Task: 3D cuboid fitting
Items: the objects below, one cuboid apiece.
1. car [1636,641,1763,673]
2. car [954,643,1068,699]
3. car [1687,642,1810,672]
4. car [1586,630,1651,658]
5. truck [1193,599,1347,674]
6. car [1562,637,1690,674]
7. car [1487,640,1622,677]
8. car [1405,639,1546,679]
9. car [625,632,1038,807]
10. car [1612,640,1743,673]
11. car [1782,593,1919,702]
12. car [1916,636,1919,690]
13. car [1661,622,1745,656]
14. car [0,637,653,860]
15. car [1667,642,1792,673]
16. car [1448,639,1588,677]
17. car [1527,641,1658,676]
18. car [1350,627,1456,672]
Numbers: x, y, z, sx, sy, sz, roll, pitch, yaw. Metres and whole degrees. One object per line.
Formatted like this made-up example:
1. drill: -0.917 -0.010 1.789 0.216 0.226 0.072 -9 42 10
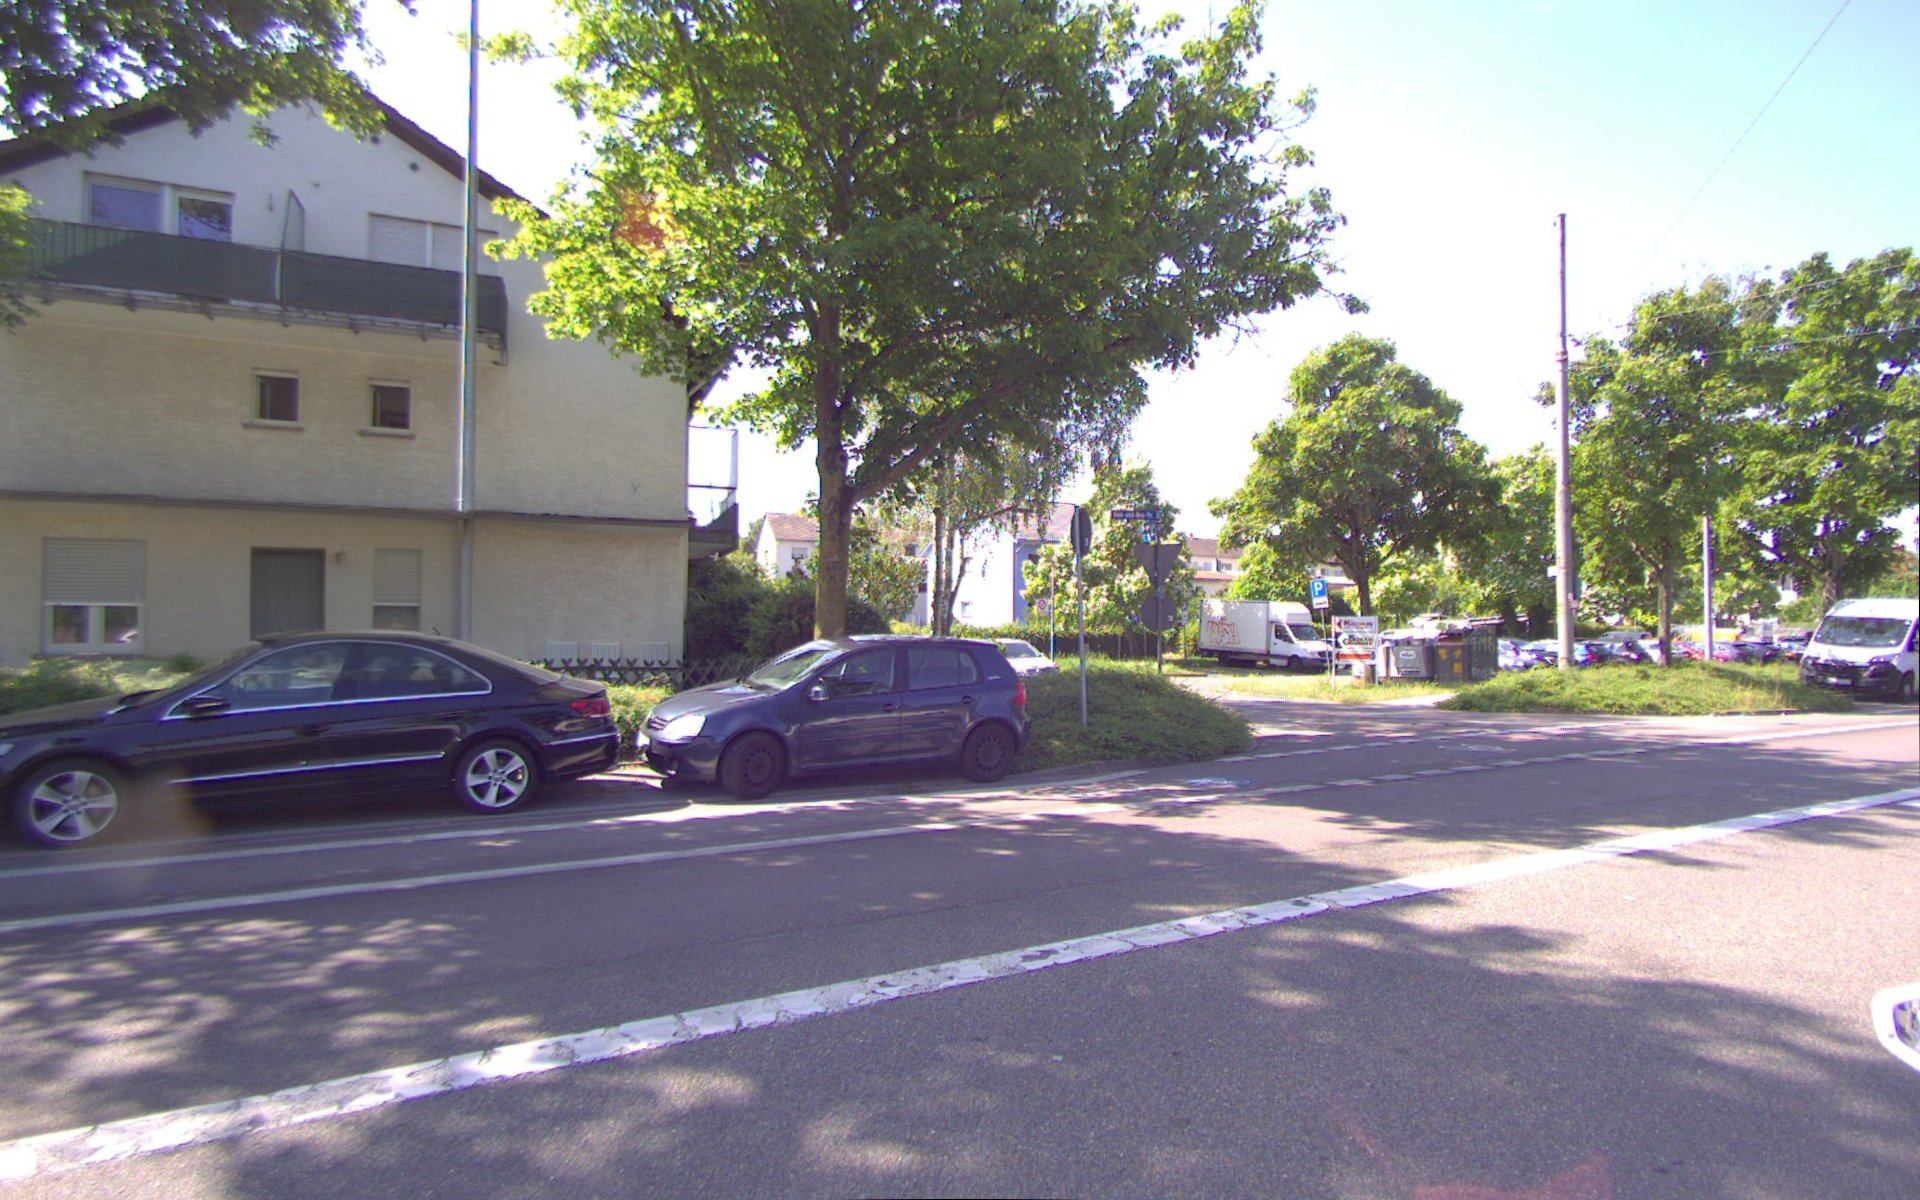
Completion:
1. car: 31.102 2.359 42.363 1.748 1.241 3.973 1 -2 -27
2. car: 1.360 1.950 28.443 1.687 1.437 3.979 1 -2 -23
3. car: 35.212 2.520 44.971 1.748 1.241 3.973 1 -2 -27
4. car: 44.889 2.987 68.536 1.535 1.901 3.406 1 -2 -31
5. truck: 14.248 1.609 46.766 2.206 3.059 7.103 1 1 -31
6. car: 26.609 2.193 40.261 1.748 1.368 3.973 1 -2 -27
7. car: 21.769 2.103 36.954 1.748 1.241 3.973 1 -2 -27
8. car: 17.394 1.947 34.052 1.751 1.241 3.967 1 -2 -31
9. car: -1.290 1.116 10.493 3.956 1.470 1.634 2 0 -29
10. car: 29.050 2.258 40.778 1.748 1.281 3.973 1 -2 -27
11. car: 24.003 1.158 25.882 6.227 2.534 2.050 1 1 -28
12. car: 29.346 1.792 28.725 4.148 1.536 1.835 1 -2 -30
13. car: 50.642 2.645 68.533 1.981 2.040 4.228 2 0 -35
14. car: -5.150 1.042 8.326 4.727 1.398 1.682 1 0 -31
15. car: 33.333 2.451 43.625 1.748 1.241 3.973 1 -2 -27
16. car: 19.512 1.999 35.286 1.751 1.241 3.967 1 -2 -31
17. car: 24.373 2.215 38.829 1.748 1.241 3.973 1 -2 -27
18. car: 22.855 2.535 51.941 1.980 2.040 4.663 2 0 -34
